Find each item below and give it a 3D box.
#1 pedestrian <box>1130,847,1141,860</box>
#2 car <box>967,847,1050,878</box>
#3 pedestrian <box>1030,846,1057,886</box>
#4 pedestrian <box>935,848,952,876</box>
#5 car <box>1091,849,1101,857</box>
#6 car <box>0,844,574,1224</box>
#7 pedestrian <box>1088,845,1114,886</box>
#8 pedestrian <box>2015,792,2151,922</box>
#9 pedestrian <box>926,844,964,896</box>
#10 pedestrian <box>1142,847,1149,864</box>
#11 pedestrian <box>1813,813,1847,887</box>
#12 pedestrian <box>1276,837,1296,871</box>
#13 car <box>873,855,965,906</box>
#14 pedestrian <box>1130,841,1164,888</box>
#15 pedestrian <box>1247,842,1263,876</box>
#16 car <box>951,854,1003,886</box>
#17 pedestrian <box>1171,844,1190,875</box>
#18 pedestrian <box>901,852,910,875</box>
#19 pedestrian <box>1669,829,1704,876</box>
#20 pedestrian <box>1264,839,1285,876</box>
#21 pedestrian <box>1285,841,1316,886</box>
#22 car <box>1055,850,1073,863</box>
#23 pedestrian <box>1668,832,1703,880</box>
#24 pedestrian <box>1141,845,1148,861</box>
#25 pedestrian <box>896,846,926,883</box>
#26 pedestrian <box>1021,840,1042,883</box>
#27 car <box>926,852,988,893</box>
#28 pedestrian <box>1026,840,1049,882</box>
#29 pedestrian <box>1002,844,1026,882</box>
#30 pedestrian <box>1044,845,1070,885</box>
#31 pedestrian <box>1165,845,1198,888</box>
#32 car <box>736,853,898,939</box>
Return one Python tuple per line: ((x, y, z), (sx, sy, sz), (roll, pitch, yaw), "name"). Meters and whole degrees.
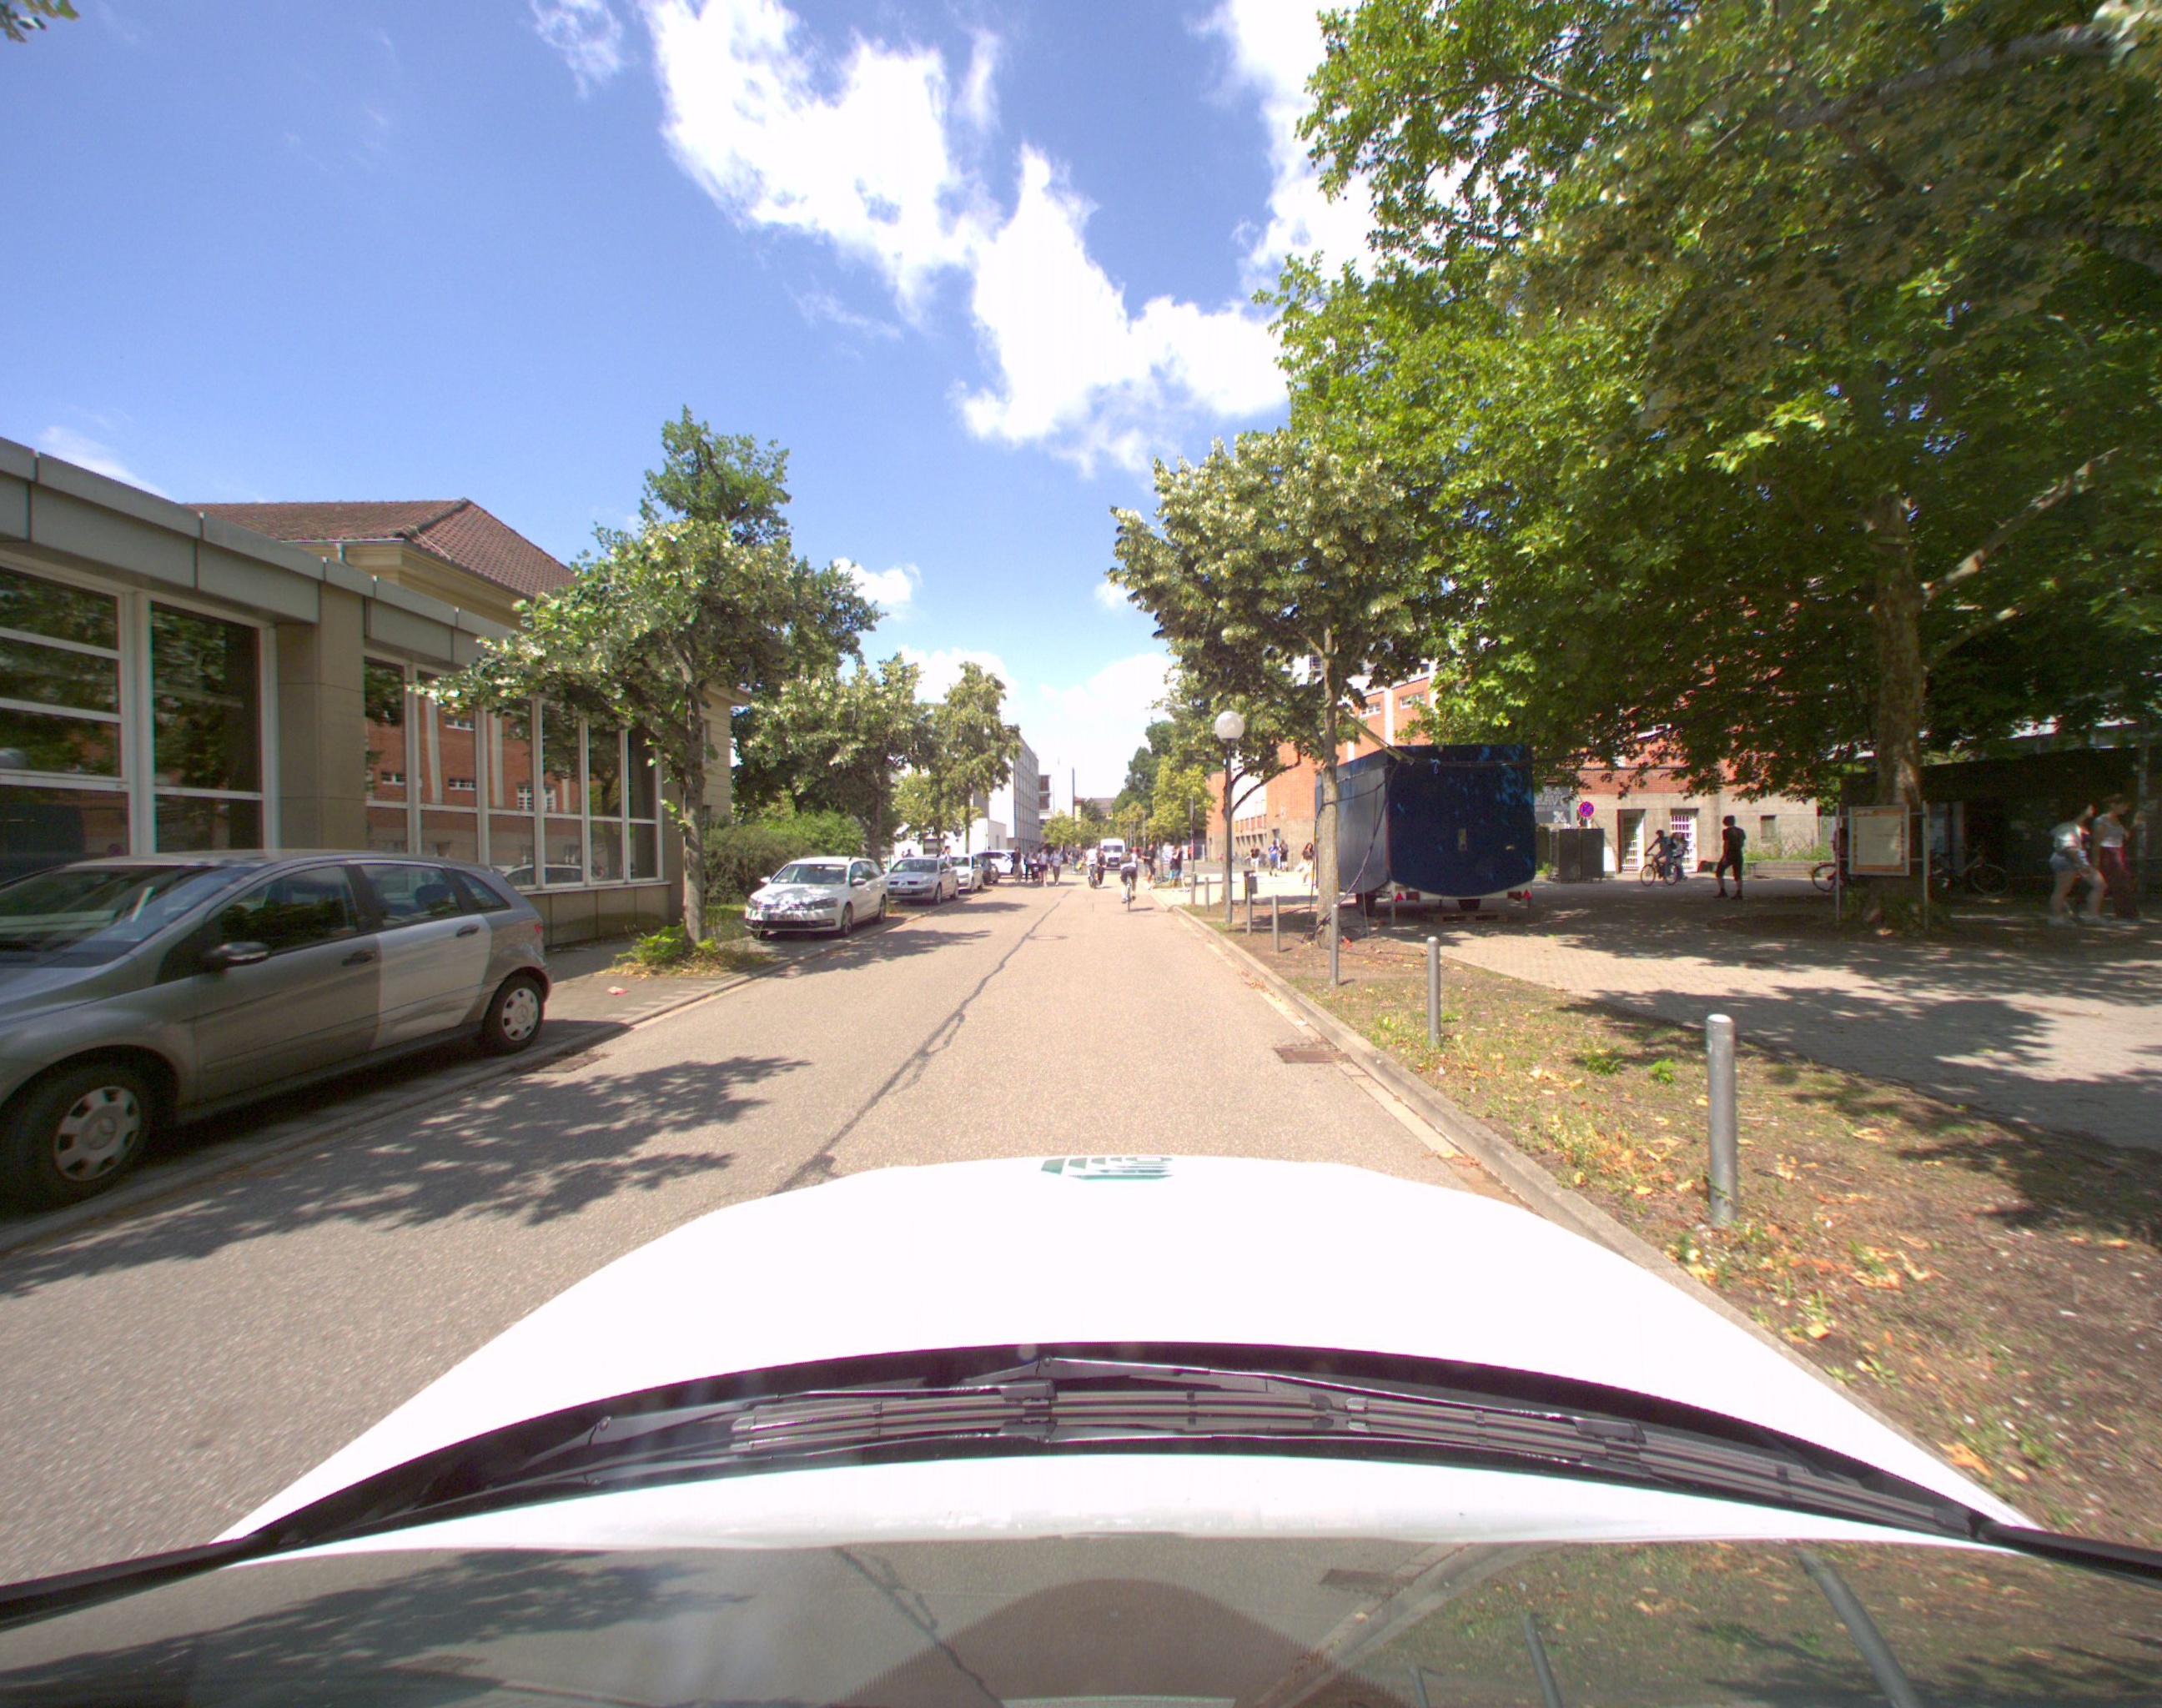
((8.818, -0.044, 131.509), (1.495, 1.996, 1.646), (-4, 1, 0), "pedestrian")
((-4.097, 0.486, 45.740), (4.462, 1.619, 1.936), (1, -1, 36), "car")
((-1.678, 0.510, 36.221), (0.971, 1.739, 0.705), (1, 1, 40), "pedestrian")
((-8.838, 0.529, 52.285), (0.979, 1.785, 0.669), (-1, -1, 0), "pedestrian")
((3.165, -0.271, 168.275), (1.786, 1.530, 4.007), (-2, 0, 6), "car")
((-5.314, 0.732, 5.032), (1.752, 1.556, 4.113), (1, 0, 0), "car")
((0.869, 0.483, 35.395), (0.705, 1.719, 0.985), (-1, 1, -29), "pedestrian")
((13.495, 0.038, 10.998), (0.762, 1.661, 0.824), (-2, 0, 2), "pedestrian")
((-4.648, 0.547, 27.908), (1.101, 1.716, 0.710), (2, -2, 1), "pedestrian")
((7.356, 0.193, 93.021), (0.787, 1.860, 1.026), (-2, 0, 3), "pedestrian")
((19.514, -0.107, 21.228), (0.444, 1.883, 0.531), (-1, 0, 12), "pedestrian")
((11.375, 0.002, 45.219), (0.787, 1.860, 1.116), (-2, 0, 0), "pedestrian")
((-4.789, 0.732, 24.672), (1.718, 1.343, 4.169), (1, 0, 3), "car")
((2.710, 0.417, 33.435), (1.102, 1.860, 0.860), (0, 0, 40), "pedestrian")
((8.558, 0.232, 39.971), (0.501, 1.630, 0.570), (-4, 1, -8), "pedestrian")
((-4.690, 0.681, 37.101), (1.638, 1.300, 3.931), (-2, 0, 3), "car")
((5.526, 0.291, 45.169), (0.952, 1.694, 0.707), (0, 3, 11), "pedestrian")
((-13.804, 0.727, 64.030), (0.549, 1.764, 0.586), (-1, 0, 2), "pedestrian")
((21.303, -0.065, 28.653), (0.657, 1.607, 0.678), (-2, 0, -14), "pedestrian")
((9.529, 0.156, 40.196), (0.708, 1.787, 0.750), (-3, 1, -8), "pedestrian")
((8.458, 0.347, 31.411), (0.872, 1.637, 0.949), (-5, 1, 2), "pedestrian")
((-2.156, 0.257, 102.488), (1.786, 1.530, 4.007), (-2, 0, 6), "car")
((20.627, 0.072, 27.797), (0.657, 1.607, 0.678), (-2, 0, -14), "pedestrian")
((7.211, -0.133, 92.604), (0.787, 1.860, 1.244), (-2, 0, 3), "pedestrian")
((-9.395, 0.598, 44.912), (1.163, 1.904, 1.024), (-2, -7, 43), "pedestrian")
((-2.365, 0.368, 38.792), (0.620, 1.980, 0.821), (-2, -1, -30), "pedestrian")
((-4.632, 0.659, 30.786), (1.656, 1.411, 3.808), (0, 0, 1), "car")
((-2.112, 0.333, 39.747), (0.819, 1.980, 0.695), (1, 0, 25), "pedestrian")
((-3.199, 0.423, 39.166), (0.794, 1.772, 0.859), (1, 0, 25), "pedestrian")
((-1.067, 0.495, 36.750), (0.897, 1.739, 0.683), (-1, 0, 40), "pedestrian")
((3.786, 0.466, 30.769), (0.855, 1.595, 0.820), (-3, 1, -42), "pedestrian")
((-5.062, 0.720, 16.324), (1.720, 1.456, 4.582), (1, 0, 0), "car")
